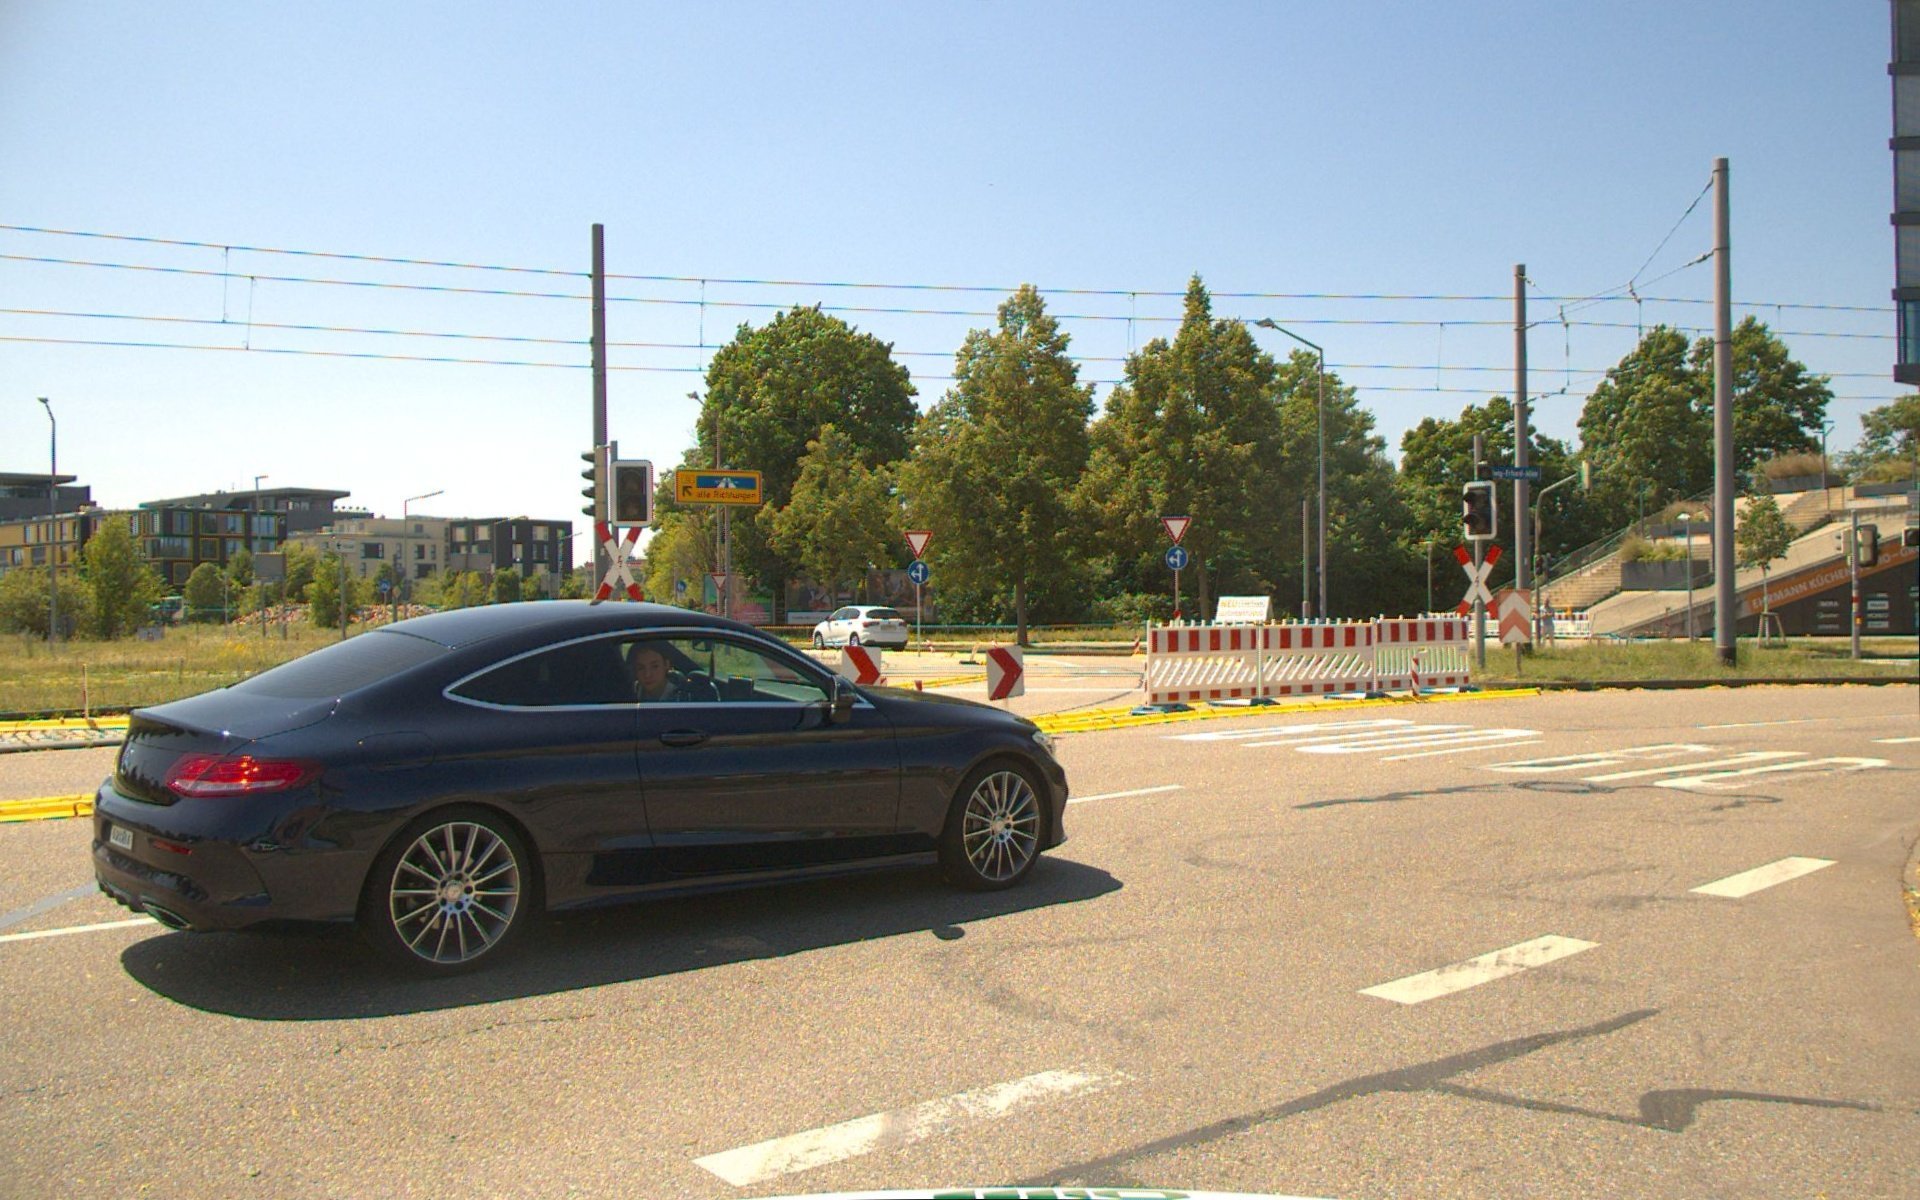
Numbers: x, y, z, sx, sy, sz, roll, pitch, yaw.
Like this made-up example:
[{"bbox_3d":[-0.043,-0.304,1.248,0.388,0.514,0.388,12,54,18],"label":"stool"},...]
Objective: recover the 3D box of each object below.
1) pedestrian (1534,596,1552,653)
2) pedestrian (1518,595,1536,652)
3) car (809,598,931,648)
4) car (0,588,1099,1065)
[{"bbox_3d":[18.185,0.753,51.577,0.439,1.769,0.318,0,0,-4],"label":"pedestrian"},{"bbox_3d":[17.654,0.720,51.496,0.439,1.769,0.291,0,0,-4],"label":"pedestrian"},{"bbox_3d":[-2.956,0.734,53.751,1.977,1.512,4.312,-1,0,-35],"label":"car"},{"bbox_3d":[-1.727,0.694,7.387,4.912,1.462,1.830,0,0,-42],"label":"car"}]
